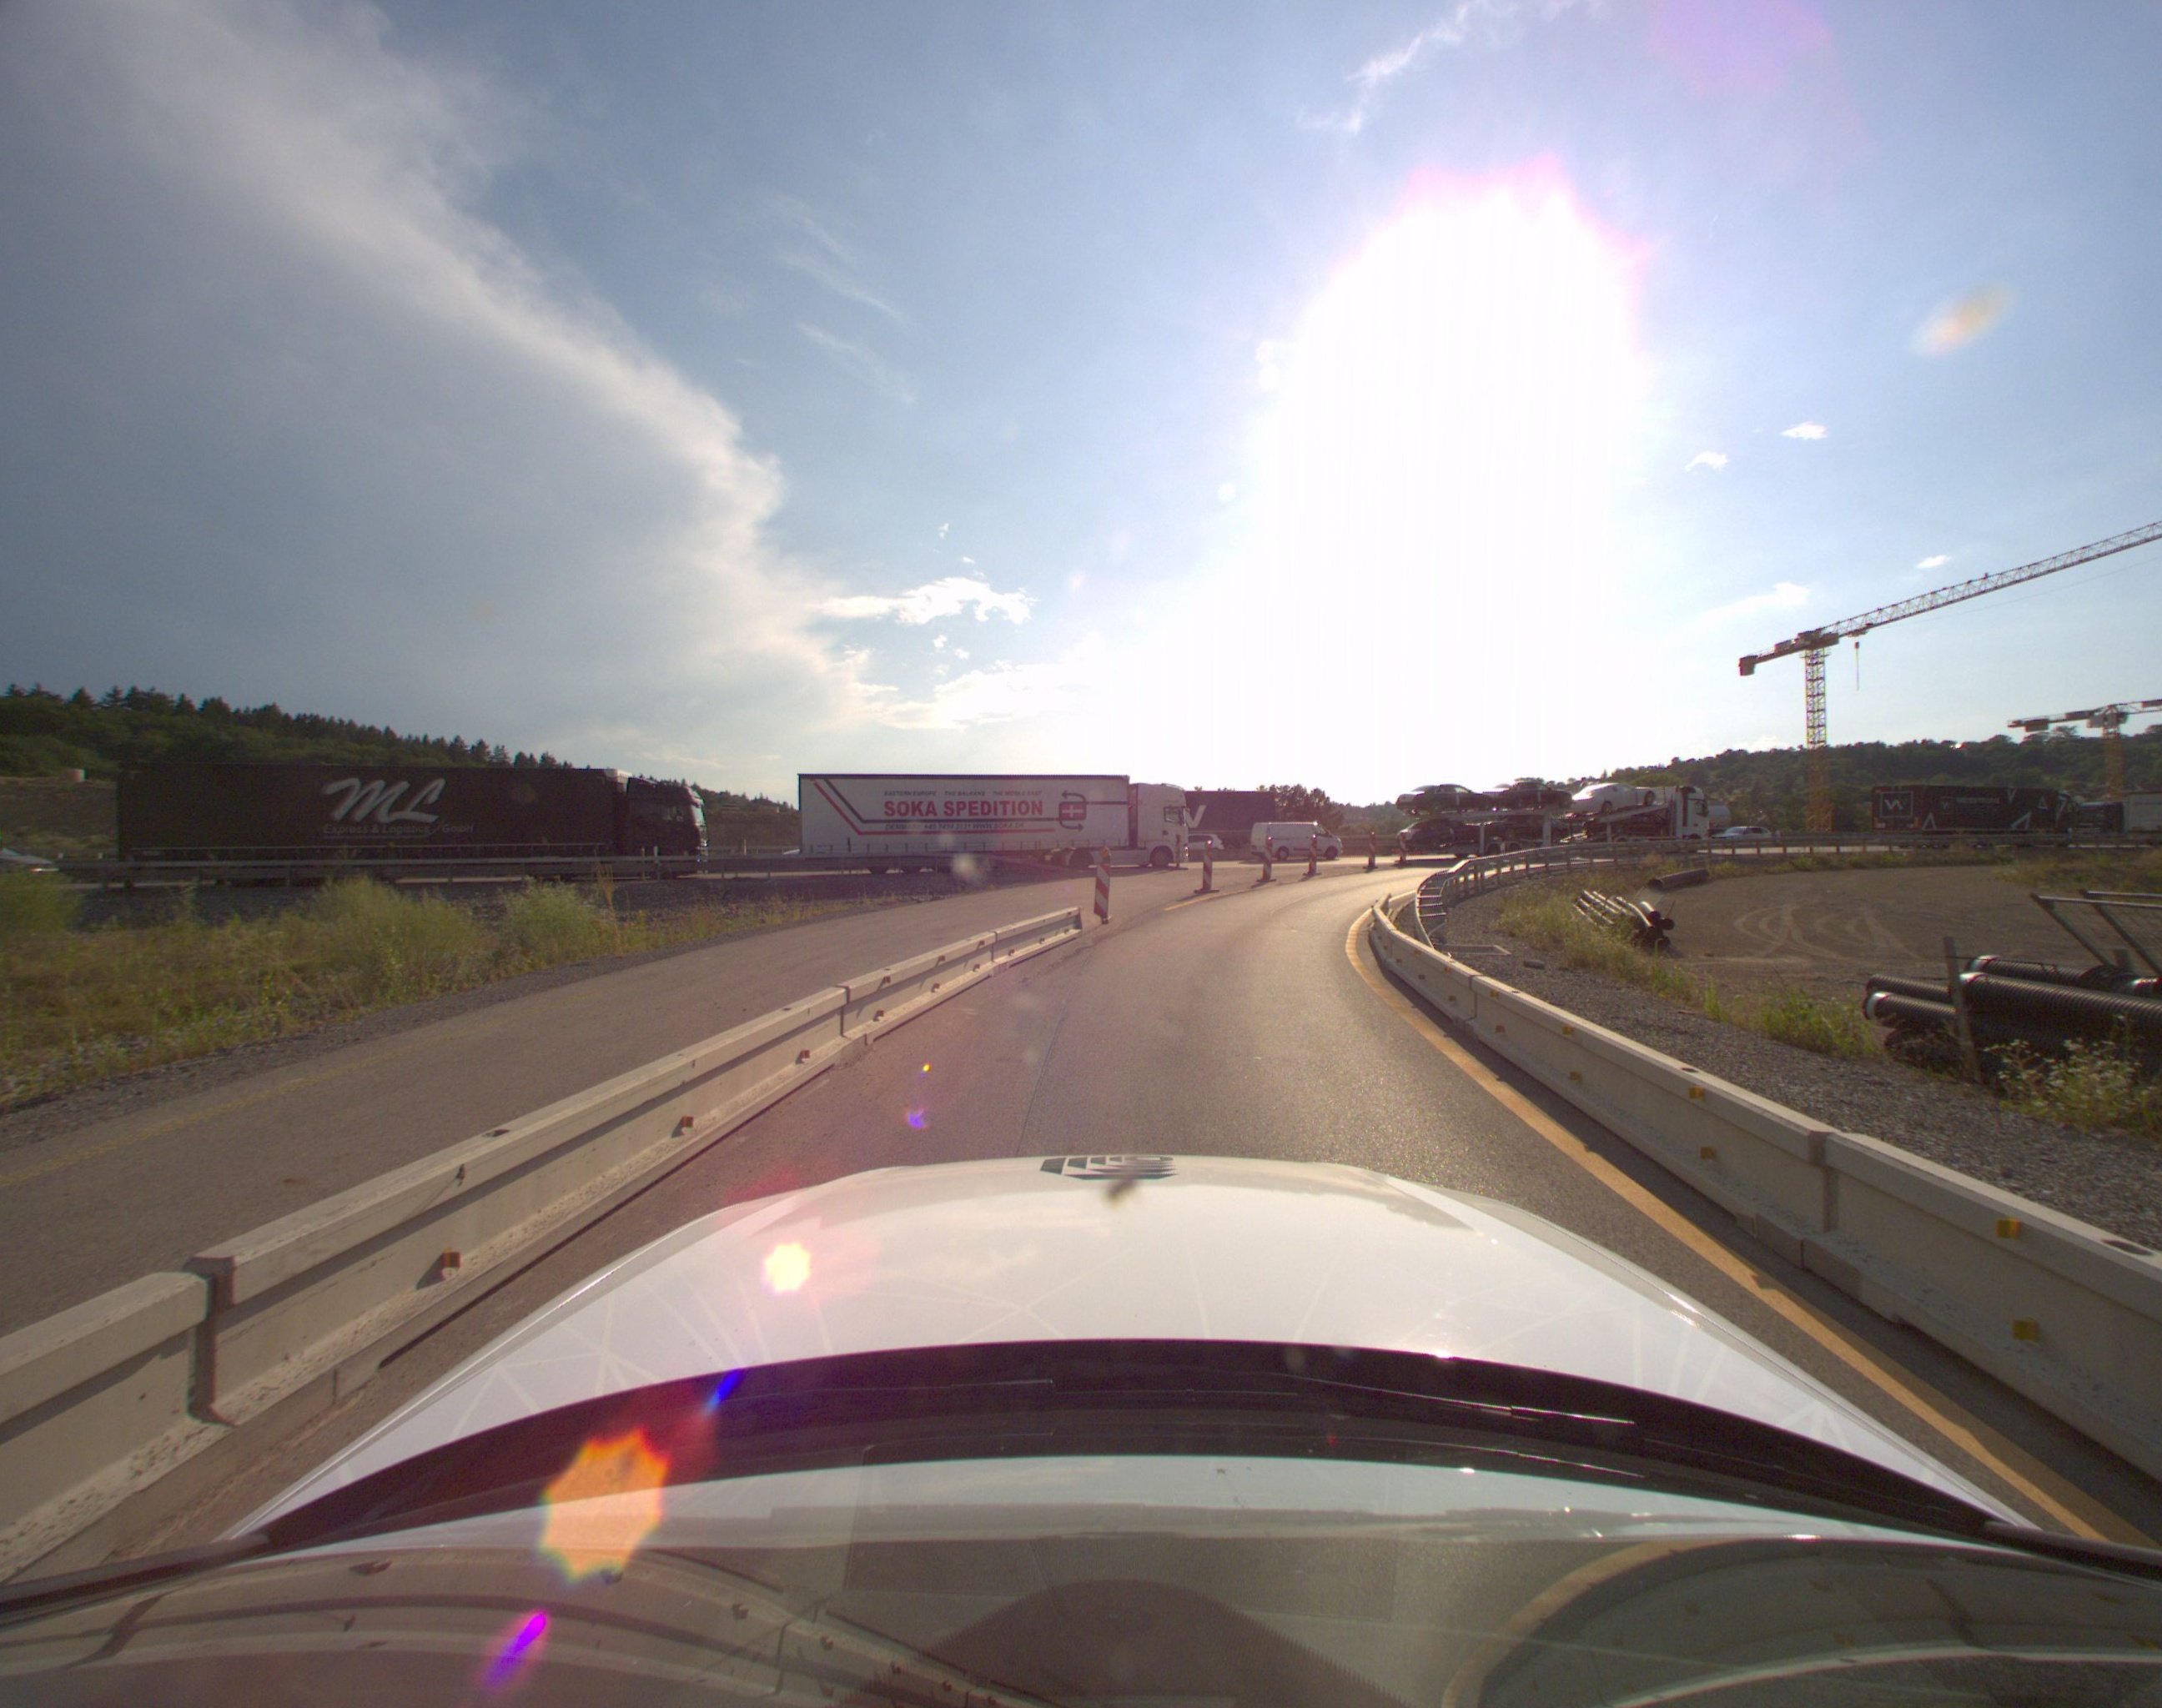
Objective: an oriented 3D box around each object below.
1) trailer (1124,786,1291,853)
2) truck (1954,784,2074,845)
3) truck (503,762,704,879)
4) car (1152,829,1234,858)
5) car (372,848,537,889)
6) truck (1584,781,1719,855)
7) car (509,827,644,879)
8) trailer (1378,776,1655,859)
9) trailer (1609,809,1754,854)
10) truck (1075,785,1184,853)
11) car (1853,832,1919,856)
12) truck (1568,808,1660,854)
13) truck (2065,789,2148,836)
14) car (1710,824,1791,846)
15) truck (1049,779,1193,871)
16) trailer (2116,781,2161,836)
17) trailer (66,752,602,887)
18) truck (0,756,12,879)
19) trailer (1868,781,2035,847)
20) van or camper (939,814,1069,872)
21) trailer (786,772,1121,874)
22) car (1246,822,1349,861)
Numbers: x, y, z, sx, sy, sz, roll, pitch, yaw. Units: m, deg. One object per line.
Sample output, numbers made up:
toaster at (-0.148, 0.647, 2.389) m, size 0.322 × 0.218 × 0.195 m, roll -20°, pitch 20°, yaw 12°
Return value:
trailer at (7.637, -2.029, 49.143) m, size 9.559 × 3.752 × 3.000 m, roll -1°, pitch -1°, yaw -16°
truck at (63.636, -2.625, 55.578) m, size 6.616 × 3.996 × 2.879 m, roll -1°, pitch 0°, yaw -16°
truck at (-17.517, -1.191, 30.328) m, size 6.007 × 4.060 × 2.474 m, roll 0°, pitch 0°, yaw -18°
car at (6.170, -0.616, 45.011) m, size 4.233 × 1.500 × 1.653 m, roll -1°, pitch 2°, yaw -17°
car at (-25.937, 0.551, 33.925) m, size 4.974 × 1.500 × 2.024 m, roll -1°, pitch 2°, yaw -17°
truck at (32.308, -1.963, 46.172) m, size 6.619 × 3.996 × 2.841 m, roll -1°, pitch 0°, yaw -17°
car at (-20.038, -0.048, 32.533) m, size 4.329 × 2.014 × 1.517 m, roll -1°, pitch -1°, yaw -18°
trailer at (23.356, -1.850, 43.329) m, size 15.733 × 3.996 × 2.850 m, roll -1°, pitch 0°, yaw -18°
trailer at (44.194, -1.673, 59.913) m, size 10.962 × 3.134 × 2.137 m, roll -1°, pitch -1°, yaw -15°
truck at (2.814, -1.979, 47.684) m, size 5.682 × 3.727 × 2.989 m, roll -1°, pitch -1°, yaw -17°
car at (58.771, -0.710, 59.479) m, size 3.999 × 1.654 × 1.824 m, roll -1°, pitch -1°, yaw -19°
truck at (38.200, -1.642, 58.395) m, size 5.676 × 3.134 × 2.137 m, roll -1°, pitch -1°, yaw -14°
truck at (95.048, -3.790, 75.492) m, size 6.123 × 4.066 × 2.621 m, roll -1°, pitch -1°, yaw -17°
car at (47.480, -1.362, 57.782) m, size 4.974 × 1.500 × 2.024 m, roll -1°, pitch 2°, yaw -17°
truck at (1.779, -1.277, 36.552) m, size 6.007 × 3.878 × 2.474 m, roll 0°, pitch 0°, yaw -18°
trailer at (86.242, -3.452, 62.591) m, size 14.733 × 3.996 × 3.376 m, roll -1°, pitch 0°, yaw -18°
trailer at (-24.558, -1.110, 28.027) m, size 13.629 × 4.061 × 2.472 m, roll 0°, pitch 0°, yaw -20°
truck at (-37.011, -1.121, 24.187) m, size 6.006 × 3.901 × 2.474 m, roll 0°, pitch 0°, yaw -17°
trailer at (57.443, -2.544, 53.742) m, size 10.780 × 4.092 × 2.952 m, roll -1°, pitch -1°, yaw -16°
van or camper at (-3.656, -0.560, 38.663) m, size 5.898 × 2.619 × 1.989 m, roll -1°, pitch 1°, yaw -17°
trailer at (-5.121, -1.253, 34.302) m, size 13.621 × 3.878 × 2.474 m, roll 0°, pitch 0°, yaw -18°
car at (11.460, -0.699, 43.119) m, size 4.974 × 1.980 × 2.024 m, roll -1°, pitch 2°, yaw -17°
